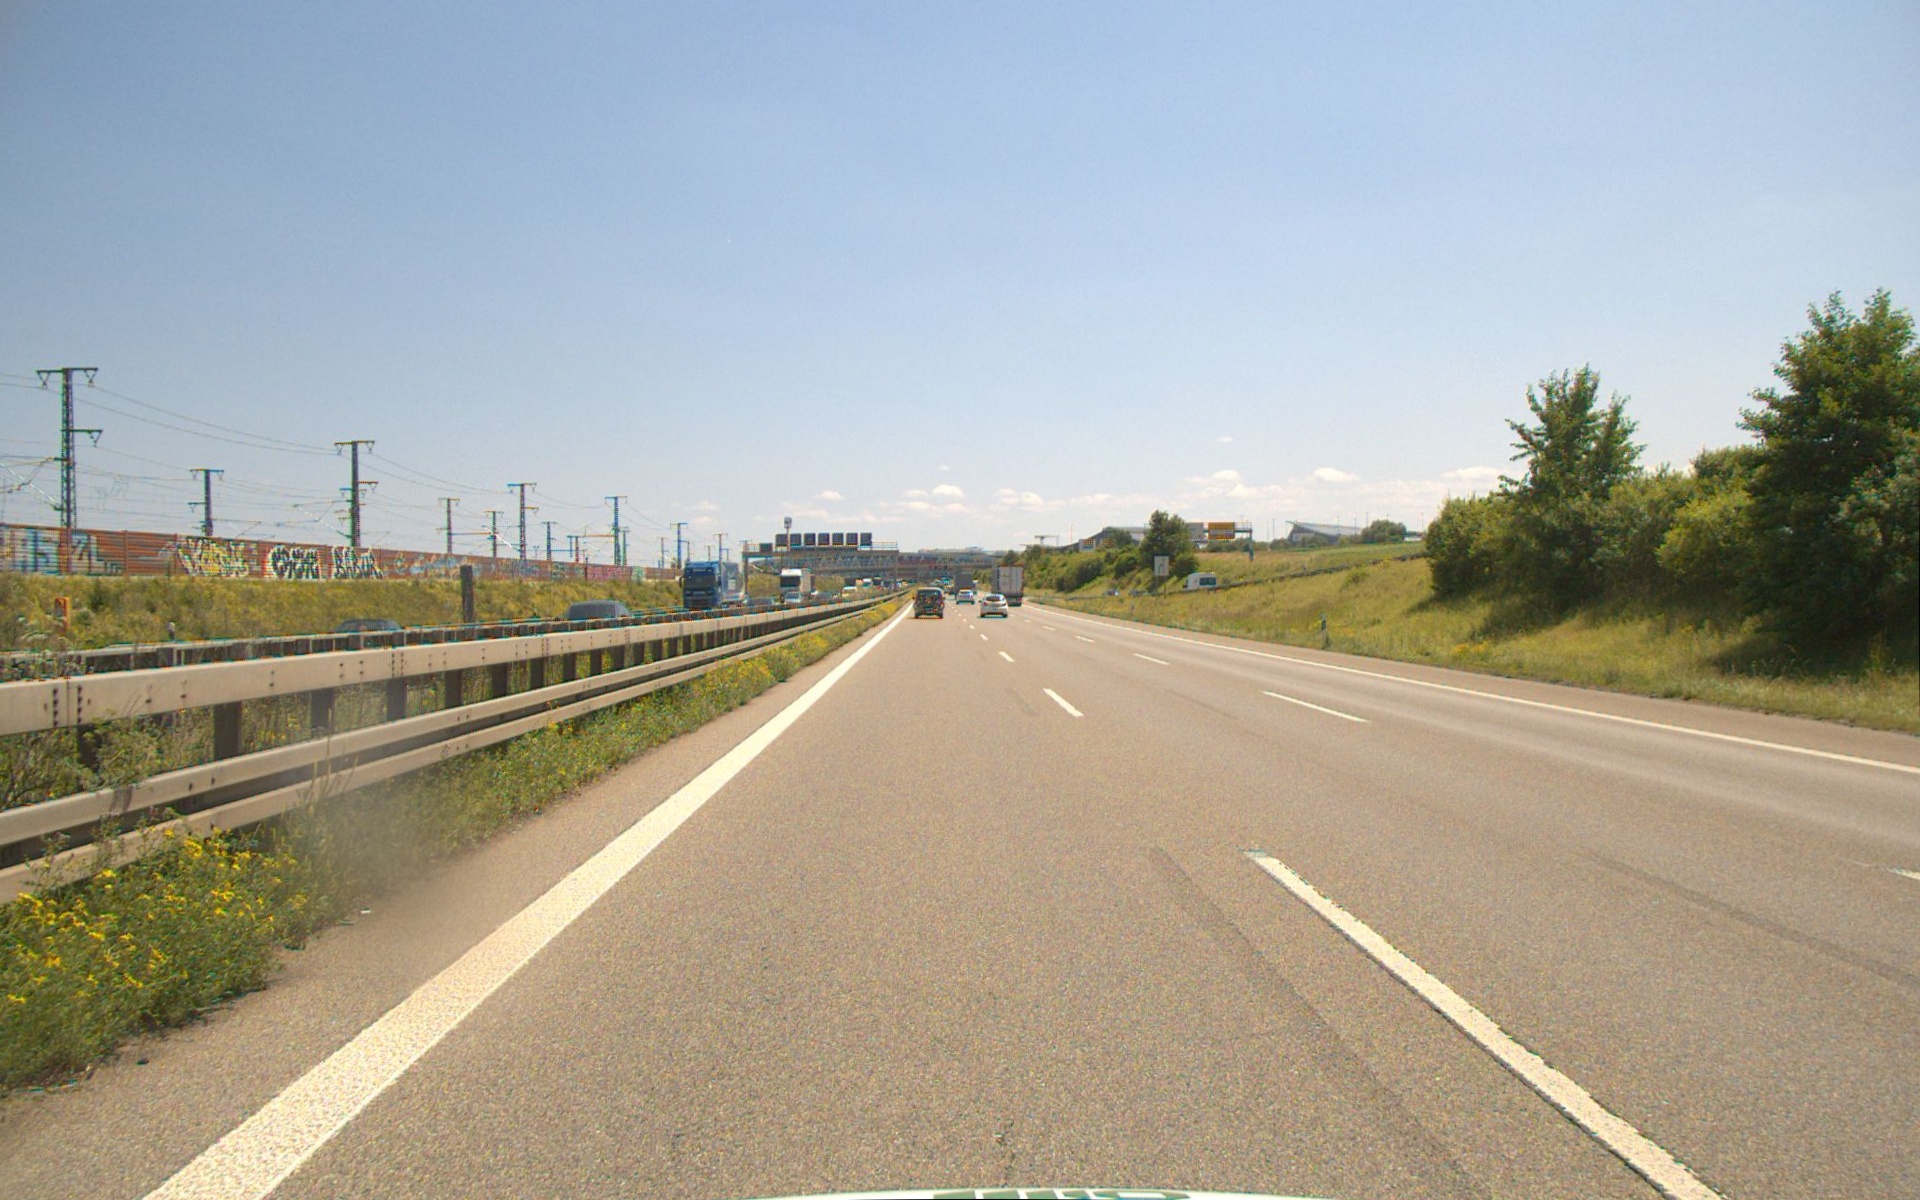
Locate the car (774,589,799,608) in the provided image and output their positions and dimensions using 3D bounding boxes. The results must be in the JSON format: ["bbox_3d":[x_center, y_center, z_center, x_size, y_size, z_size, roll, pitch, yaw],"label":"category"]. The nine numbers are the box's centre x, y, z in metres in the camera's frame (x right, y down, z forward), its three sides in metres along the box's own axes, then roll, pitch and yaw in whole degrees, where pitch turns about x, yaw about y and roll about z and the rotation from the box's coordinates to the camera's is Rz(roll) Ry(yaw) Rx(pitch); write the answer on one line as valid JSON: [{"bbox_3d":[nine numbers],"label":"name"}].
[{"bbox_3d":[-15.807,-0.117,150.919,1.953,1.676,3.999,0,0,-1],"label":"car"}]

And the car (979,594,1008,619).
[{"bbox_3d":[2.195,0.441,106.995,1.842,1.553,4.001,1,0,2],"label":"car"}]

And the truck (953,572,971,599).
[{"bbox_3d":[0.275,-1.937,216.430,2.307,3.476,6.056,0,1,-1],"label":"truck"}]

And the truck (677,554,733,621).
[{"bbox_3d":[-17.948,-0.876,116.951,2.829,4.484,7.502,-1,0,-1],"label":"truck"}]

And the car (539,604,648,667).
[{"bbox_3d":[-9.565,0.895,43.438,1.953,1.513,4.153,-2,0,-1],"label":"car"}]

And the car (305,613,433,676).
[{"bbox_3d":[-15.493,1.139,43.574,1.953,1.513,3.930,-2,0,-1],"label":"car"}]

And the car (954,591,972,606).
[{"bbox_3d":[0.342,-0.126,173.232,1.842,1.553,4.000,1,0,0],"label":"car"}]

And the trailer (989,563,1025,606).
[{"bbox_3d":[4.684,-1.556,165.647,3.113,4.130,9.438,-1,1,-1],"label":"trailer"}]

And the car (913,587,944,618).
[{"bbox_3d":[-1.906,0.167,100.612,1.842,1.806,3.999,-1,0,-1],"label":"car"}]

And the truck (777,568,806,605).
[{"bbox_3d":[-19.184,-1.560,188.701,2.674,4.143,6.380,-1,0,0],"label":"truck"}]

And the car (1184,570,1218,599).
[{"bbox_3d":[22.117,-1.425,152.043,2.229,2.572,5.397,0,1,-2],"label":"car"}]
